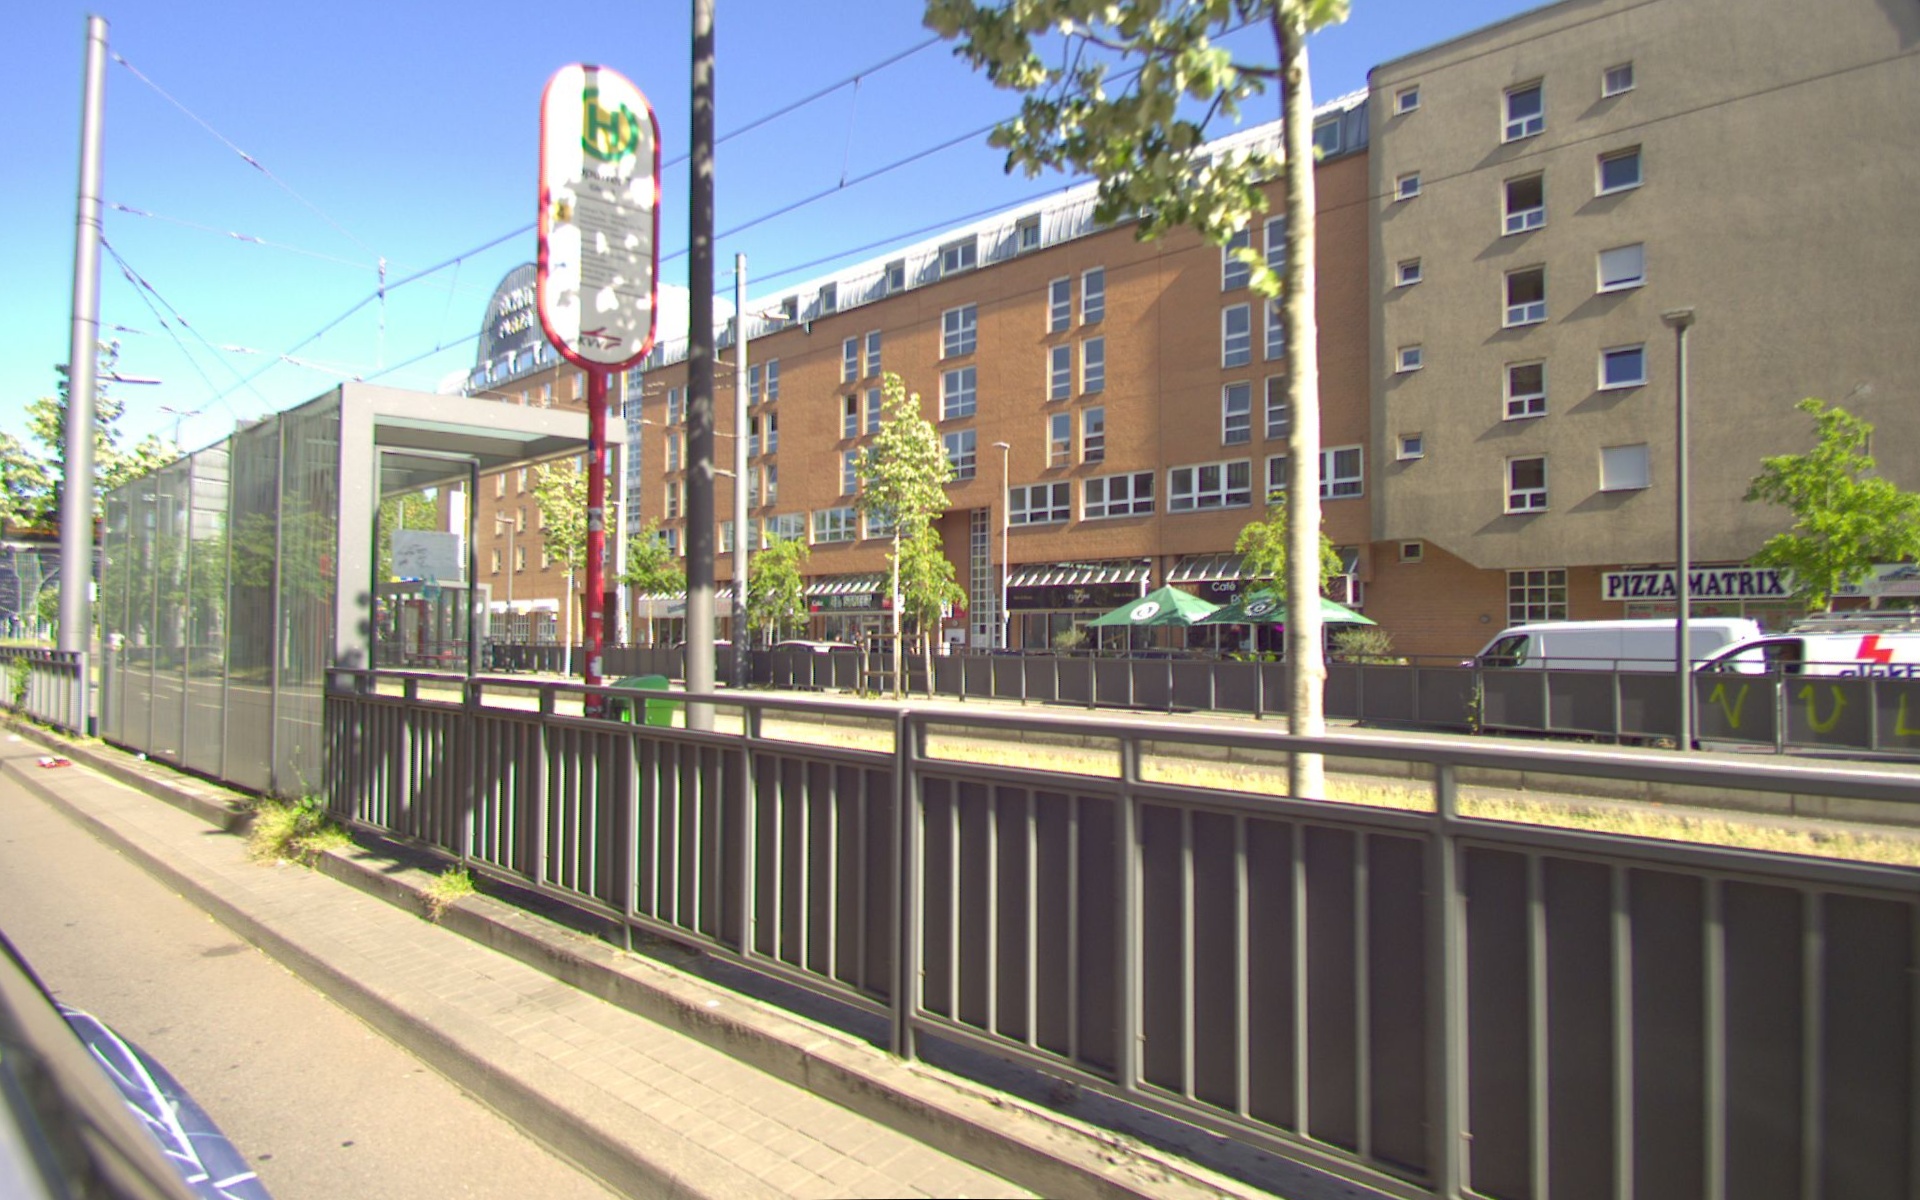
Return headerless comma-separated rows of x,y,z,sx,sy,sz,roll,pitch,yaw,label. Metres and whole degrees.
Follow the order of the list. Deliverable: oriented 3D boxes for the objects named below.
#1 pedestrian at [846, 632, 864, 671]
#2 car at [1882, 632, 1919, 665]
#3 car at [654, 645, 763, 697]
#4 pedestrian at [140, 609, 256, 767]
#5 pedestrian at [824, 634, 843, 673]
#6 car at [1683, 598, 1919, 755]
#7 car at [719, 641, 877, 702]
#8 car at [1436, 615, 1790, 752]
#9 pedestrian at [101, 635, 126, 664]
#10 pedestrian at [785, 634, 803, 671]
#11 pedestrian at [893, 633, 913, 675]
-5.061,2.497,48.855,0.644,1.854,0.614,-2,-3,39,pedestrian
50.200,2.519,52.893,1.947,1.674,3.963,-1,-3,27,car
-9.330,2.558,37.441,3.997,1.696,1.973,-1,-1,41,car
-7.886,0.881,10.478,0.798,1.548,0.804,-2,-3,42,pedestrian
-6.007,2.550,48.226,0.644,1.854,0.614,-2,-3,39,pedestrian
11.498,0.882,12.475,4.086,1.808,1.801,-1,-1,40,car
-4.042,1.702,24.946,3.957,1.296,1.677,-1,-1,40,car
12.938,1.567,20.459,1.969,2.388,5.652,1,-3,-42,car
-49.215,2.868,58.812,1.006,1.702,0.947,-2,-3,42,pedestrian
-8.356,2.654,51.008,0.644,1.854,0.614,-2,-3,39,pedestrian
-2.588,2.440,45.792,0.644,1.854,0.614,-2,-3,41,pedestrian
